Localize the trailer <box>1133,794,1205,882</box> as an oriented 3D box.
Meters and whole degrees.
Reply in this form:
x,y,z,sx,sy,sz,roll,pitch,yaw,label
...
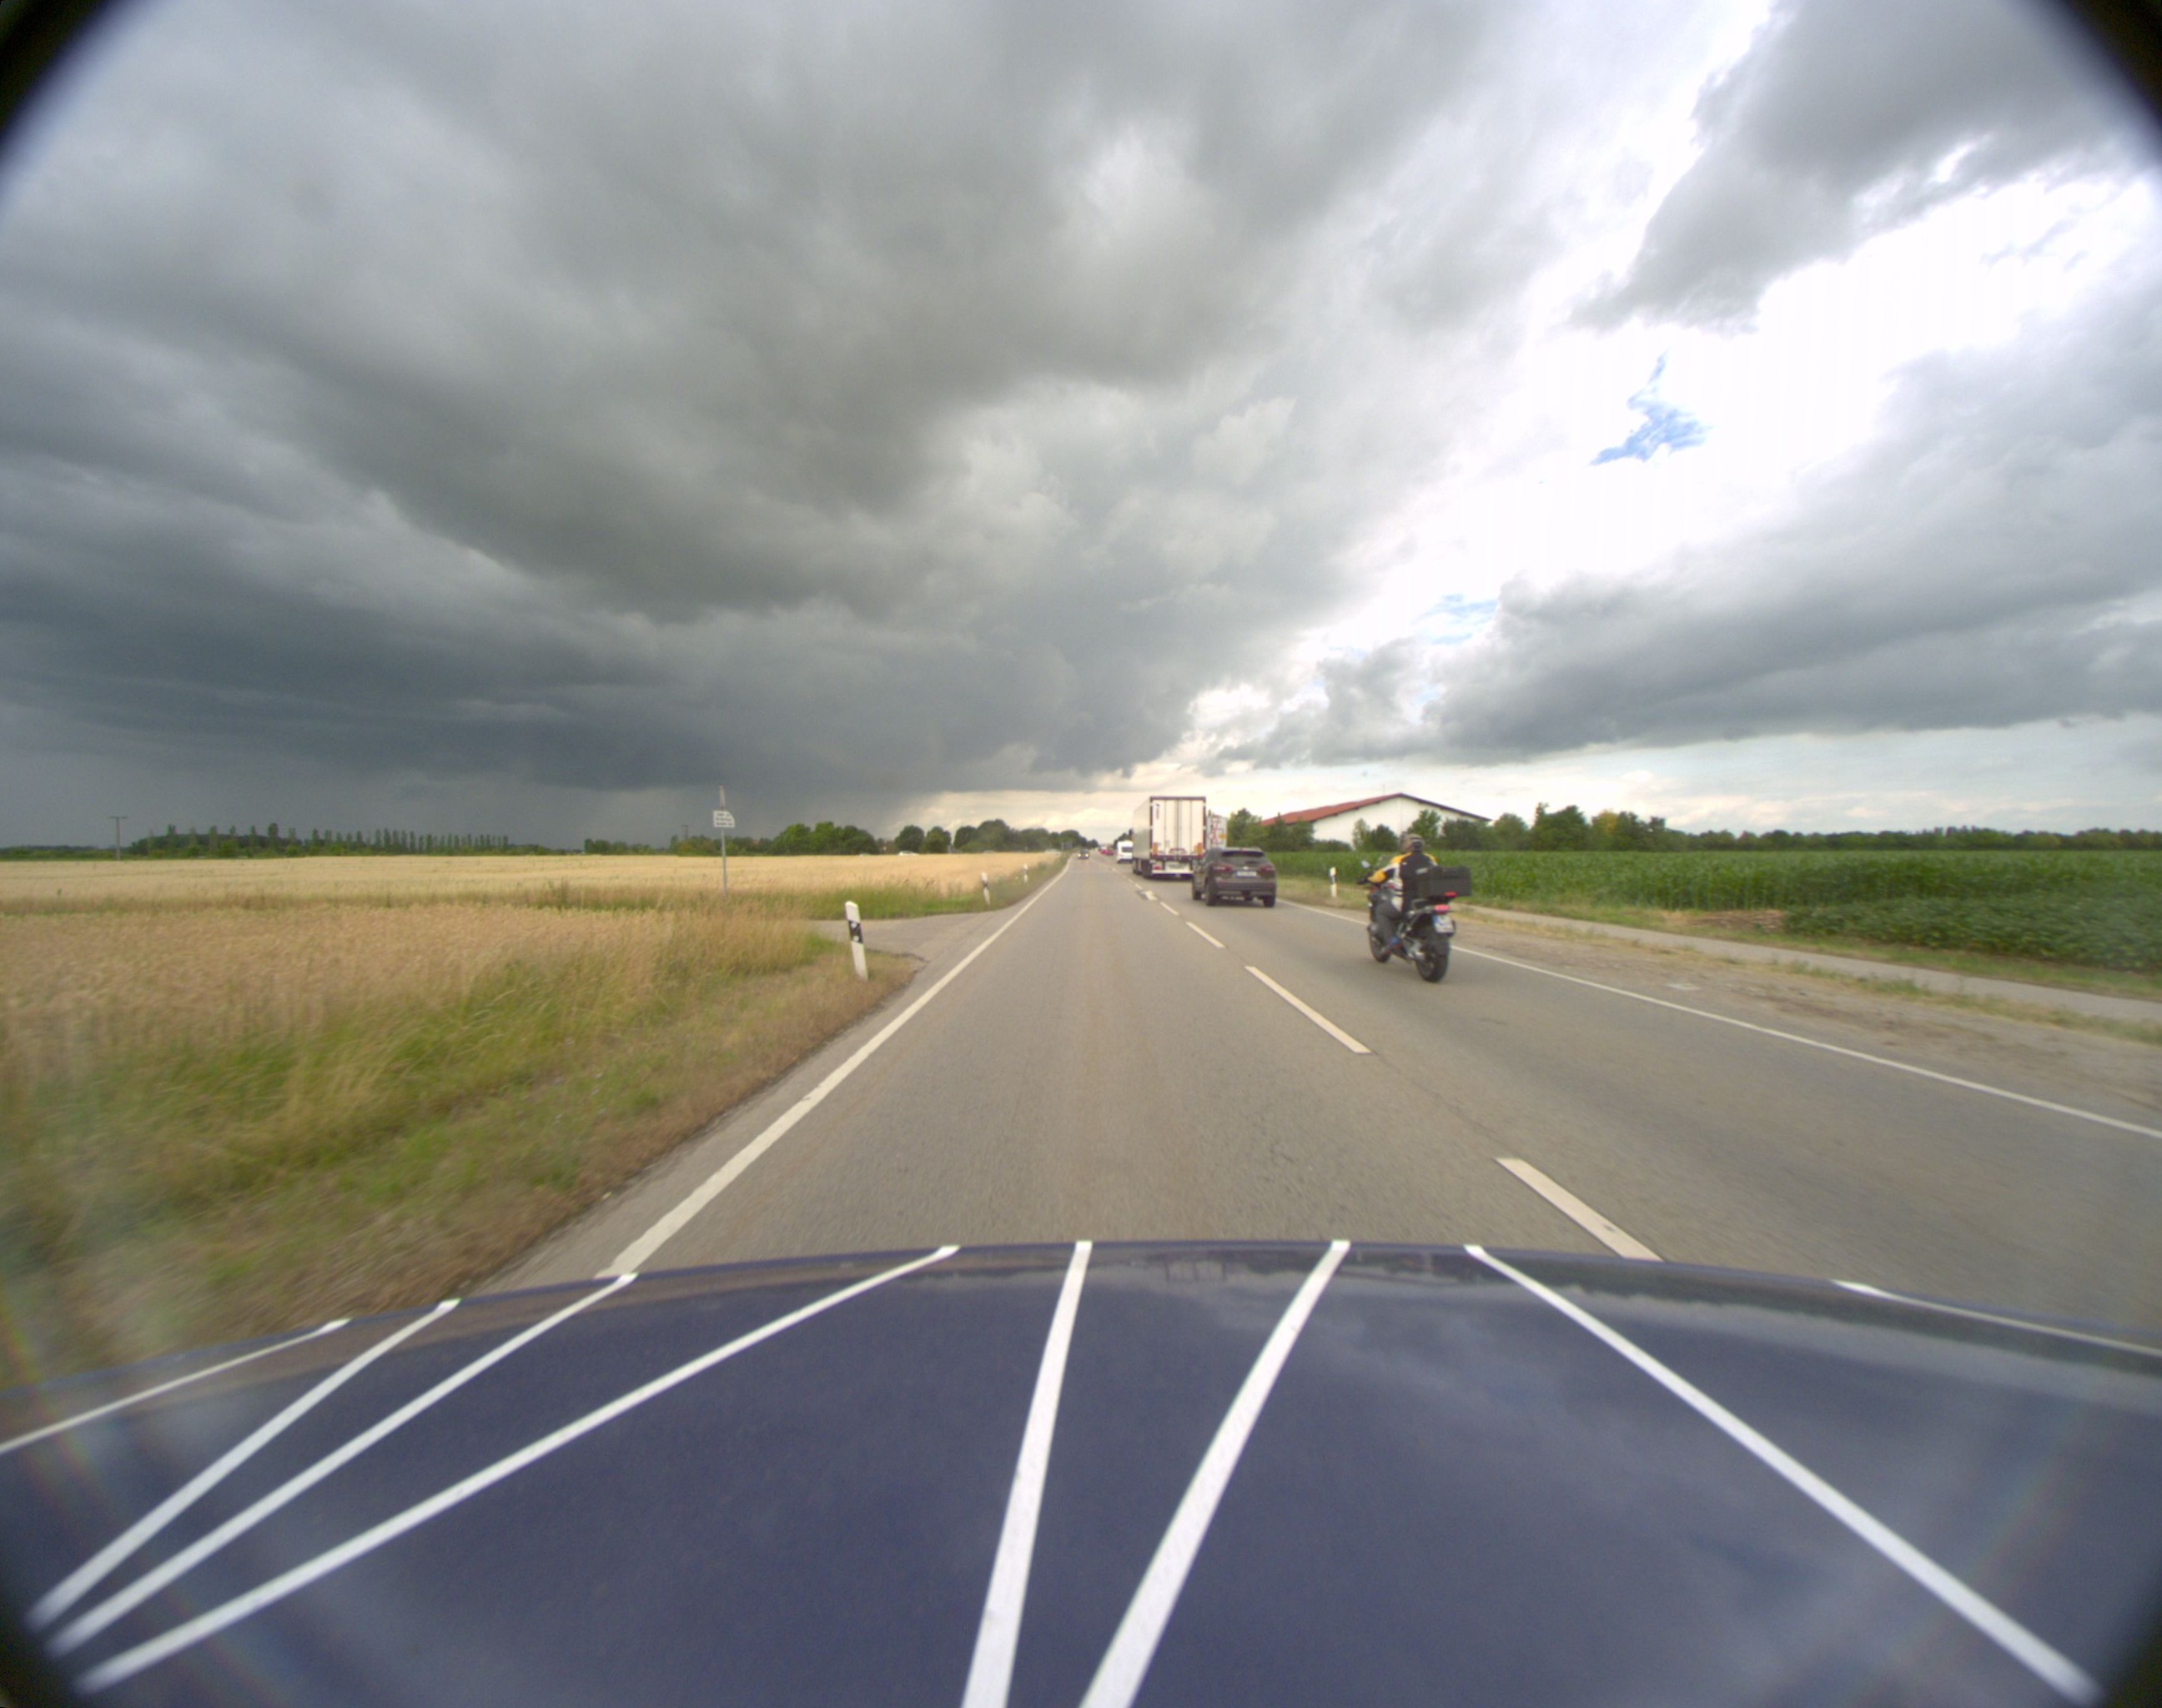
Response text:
x,y,z,sx,sy,sz,roll,pitch,yaw,label
4.588,-0.837,42.363,2.641,4.097,13.765,0,1,1,trailer

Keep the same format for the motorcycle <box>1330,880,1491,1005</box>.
x,y,z,sx,sy,sz,roll,pitch,yaw,label
3.779,0.947,9.038,0.799,1.151,2.620,0,1,1,motorcycle

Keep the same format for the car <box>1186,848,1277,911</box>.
x,y,z,sx,sy,sz,roll,pitch,yaw,label
4.143,0.636,21.643,1.733,1.577,4.504,0,1,1,car

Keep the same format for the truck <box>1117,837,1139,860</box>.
x,y,z,sx,sy,sz,roll,pitch,yaw,label
5.677,-0.676,93.267,2.419,2.643,11.430,0,1,2,truck

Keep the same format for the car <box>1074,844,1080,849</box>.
x,y,z,sx,sy,sz,roll,pitch,yaw,label
-1.290,-2.336,234.655,1.714,1.352,3.826,0,1,1,car

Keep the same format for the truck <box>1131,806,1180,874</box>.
x,y,z,sx,sy,sz,roll,pitch,yaw,label
4.712,-0.872,49.015,2.658,4.097,6.022,0,1,1,truck

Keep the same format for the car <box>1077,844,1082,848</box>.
x,y,z,sx,sy,sz,roll,pitch,yaw,label
-0.466,-2.691,253.267,1.714,1.352,3.826,0,1,1,car

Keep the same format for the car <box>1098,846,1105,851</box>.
x,y,z,sx,sy,sz,roll,pitch,yaw,label
6.101,-1.571,223.657,1.869,1.352,3.826,0,1,1,car

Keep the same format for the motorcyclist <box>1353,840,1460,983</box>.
x,y,z,sx,sy,sz,roll,pitch,yaw,label
3.766,0.625,8.886,0.799,1.564,1.078,0,1,0,motorcyclist

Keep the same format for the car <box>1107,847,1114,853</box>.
x,y,z,sx,sy,sz,roll,pitch,yaw,label
7.452,-0.979,192.524,1.869,1.352,3.826,0,1,1,car

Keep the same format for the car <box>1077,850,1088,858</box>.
x,y,z,sx,sy,sz,roll,pitch,yaw,label
0.173,0.048,131.351,1.869,1.352,3.826,0,1,0,car
